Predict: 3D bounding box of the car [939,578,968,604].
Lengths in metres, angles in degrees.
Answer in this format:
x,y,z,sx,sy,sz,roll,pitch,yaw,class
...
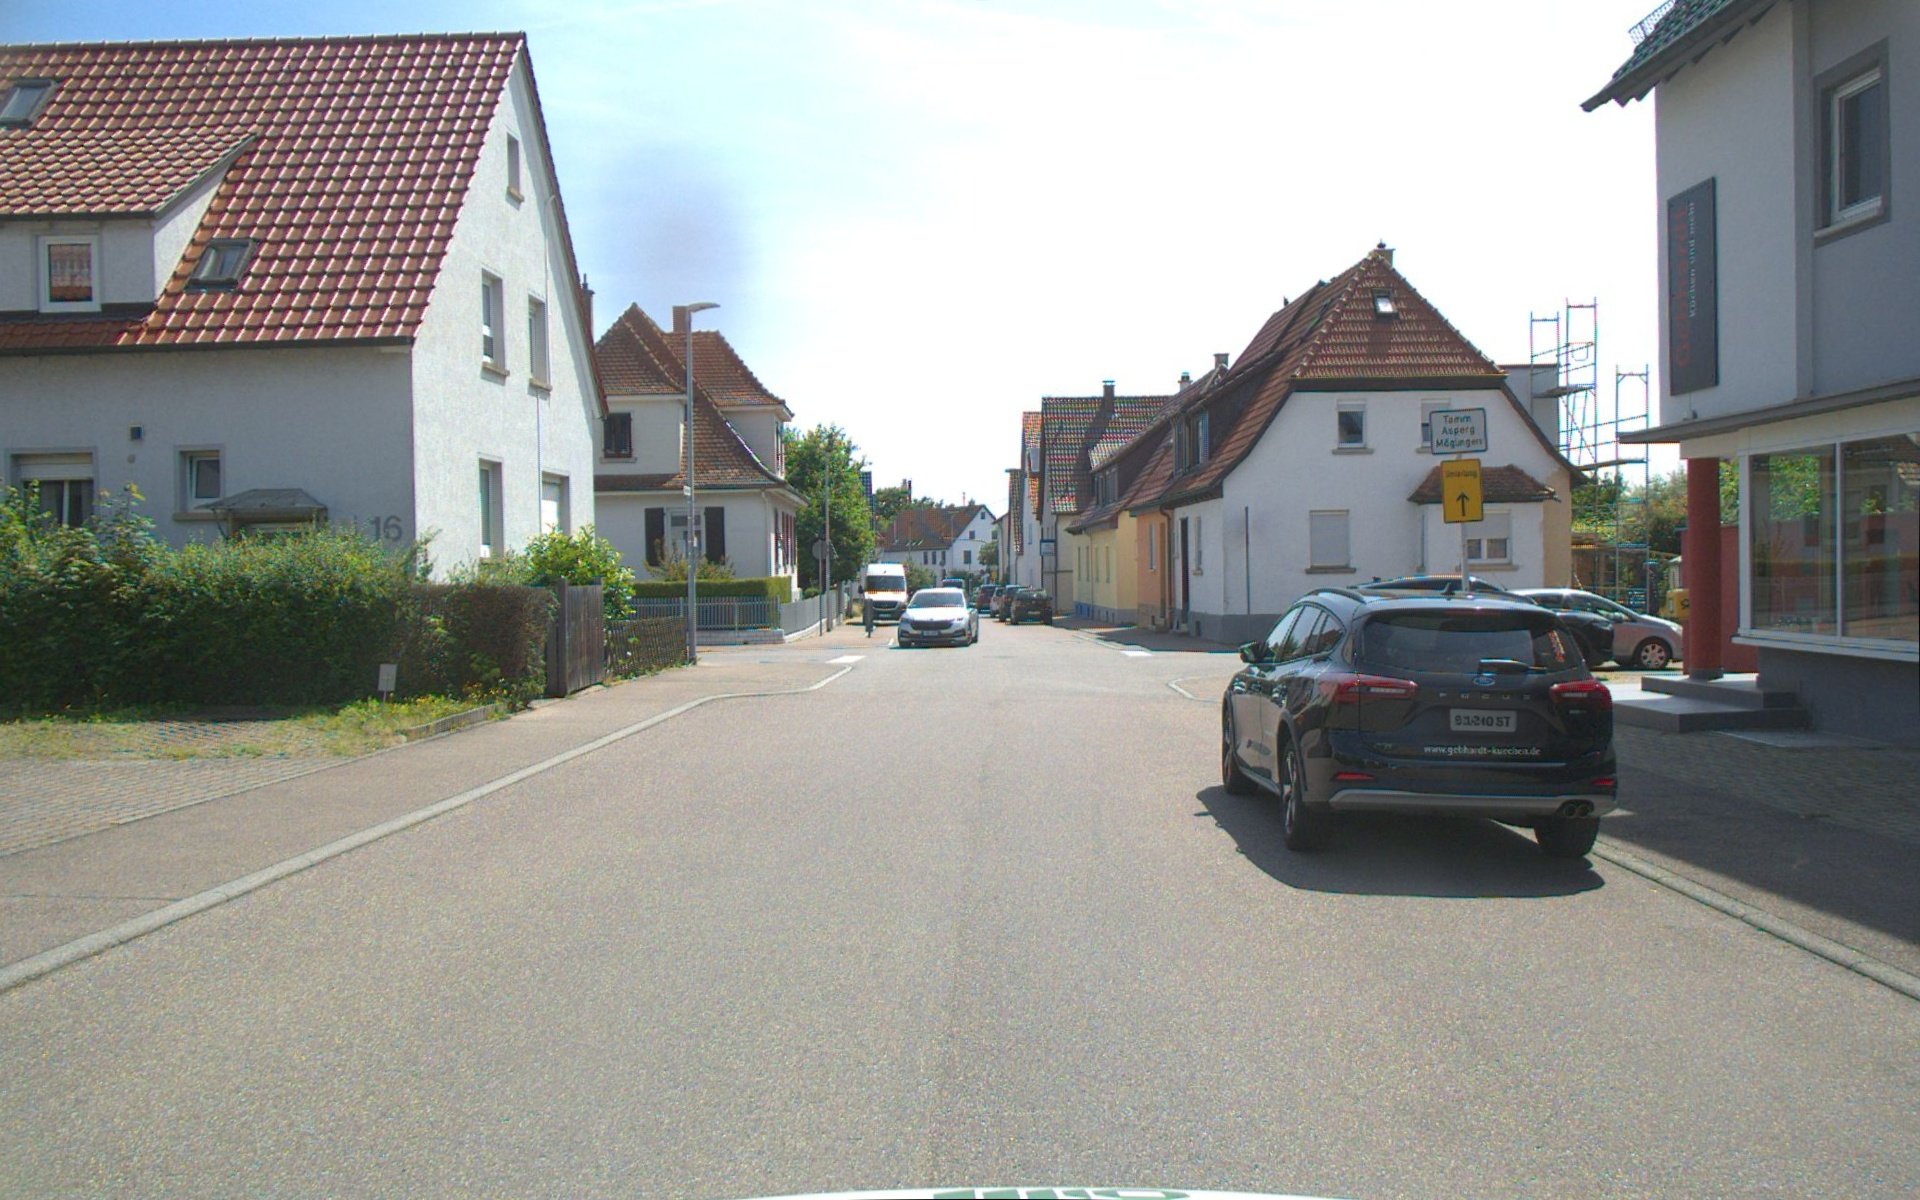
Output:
x,y,z,sx,sy,sz,roll,pitch,yaw,class
-0.557,-0.770,145.837,2.084,2.196,4.739,-1,0,4,car

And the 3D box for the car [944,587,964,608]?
x,y,z,sx,sy,sz,roll,pitch,yaw,class
-0.468,-0.209,131.624,1.484,1.594,3.185,0,0,2,car

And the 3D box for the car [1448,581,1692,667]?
x,y,z,sx,sy,sz,roll,pitch,yaw,class
11.151,0.428,30.435,3.903,1.530,1.695,0,0,3,car

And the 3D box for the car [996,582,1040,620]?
x,y,z,sx,sy,sz,roll,pitch,yaw,class
2.558,0.028,73.662,1.693,1.627,4.252,0,0,-1,car

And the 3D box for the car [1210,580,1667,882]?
x,y,z,sx,sy,sz,roll,pitch,yaw,class
2.818,0.660,10.797,1.725,1.553,4.406,1,0,0,car

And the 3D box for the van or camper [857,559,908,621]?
x,y,z,sx,sy,sz,roll,pitch,yaw,class
-3.412,-0.461,73.185,2.140,2.616,6.804,0,0,-2,van or camper

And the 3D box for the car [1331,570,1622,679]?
x,y,z,sx,sy,sz,roll,pitch,yaw,class
8.226,0.377,26.680,4.202,1.682,1.849,0,0,6,car

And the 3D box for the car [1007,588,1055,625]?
x,y,z,sx,sy,sz,roll,pitch,yaw,class
2.886,0.235,67.894,1.579,1.456,3.751,0,0,-4,car

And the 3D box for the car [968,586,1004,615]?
x,y,z,sx,sy,sz,roll,pitch,yaw,class
1.569,-0.010,100.476,1.838,1.730,4.180,0,0,-4,car

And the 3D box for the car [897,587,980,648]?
x,y,z,sx,sy,sz,roll,pitch,yaw,class
-0.499,0.405,42.690,1.716,1.463,4.591,0,0,4,car

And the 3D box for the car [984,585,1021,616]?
x,y,z,sx,sy,sz,roll,pitch,yaw,class
2.171,0.025,85.592,1.640,1.586,3.038,0,0,-4,car
